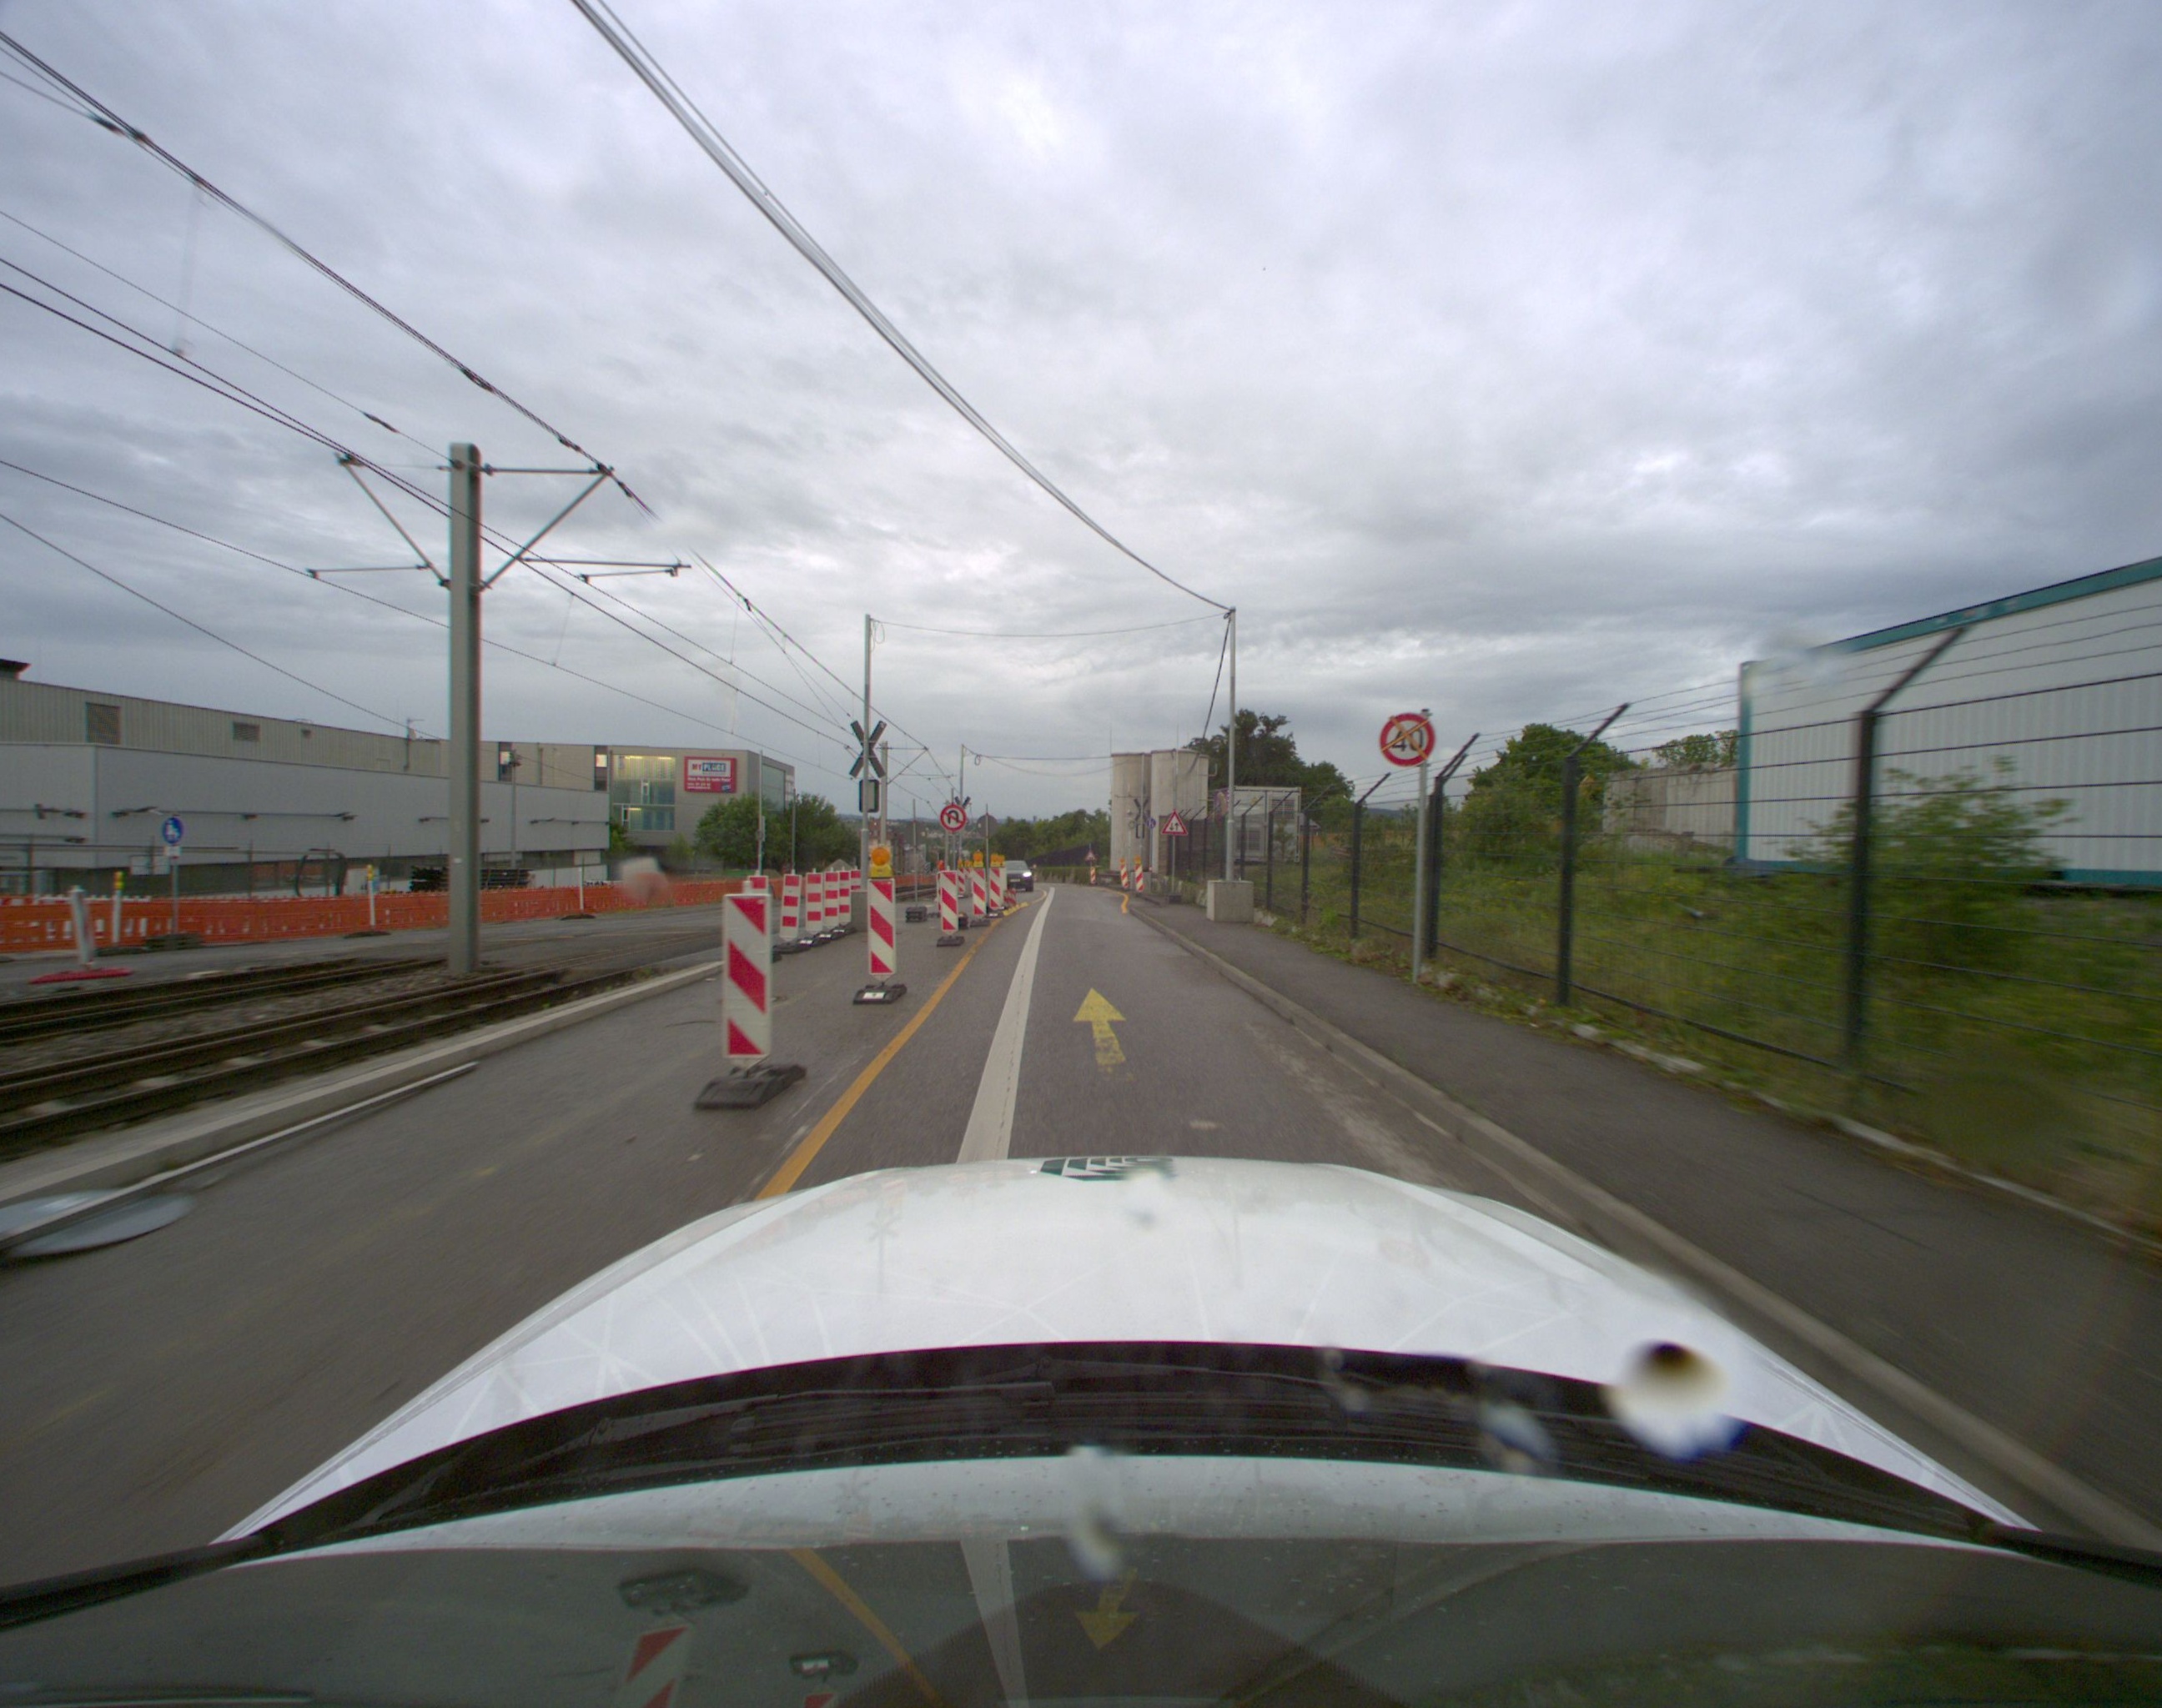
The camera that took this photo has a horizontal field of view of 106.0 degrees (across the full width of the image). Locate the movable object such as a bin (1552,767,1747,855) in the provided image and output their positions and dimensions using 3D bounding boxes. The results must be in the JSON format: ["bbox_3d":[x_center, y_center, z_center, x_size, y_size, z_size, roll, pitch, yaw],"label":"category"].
[{"bbox_3d":[40.774,-2.969,58.882,11.166,5.996,3.499,0,-1,9],"label":"movable object such as a bin"}]

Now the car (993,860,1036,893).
[{"bbox_3d":[-3.633,1.184,43.926,1.993,1.678,4.474,0,-1,-9],"label":"car"}]
